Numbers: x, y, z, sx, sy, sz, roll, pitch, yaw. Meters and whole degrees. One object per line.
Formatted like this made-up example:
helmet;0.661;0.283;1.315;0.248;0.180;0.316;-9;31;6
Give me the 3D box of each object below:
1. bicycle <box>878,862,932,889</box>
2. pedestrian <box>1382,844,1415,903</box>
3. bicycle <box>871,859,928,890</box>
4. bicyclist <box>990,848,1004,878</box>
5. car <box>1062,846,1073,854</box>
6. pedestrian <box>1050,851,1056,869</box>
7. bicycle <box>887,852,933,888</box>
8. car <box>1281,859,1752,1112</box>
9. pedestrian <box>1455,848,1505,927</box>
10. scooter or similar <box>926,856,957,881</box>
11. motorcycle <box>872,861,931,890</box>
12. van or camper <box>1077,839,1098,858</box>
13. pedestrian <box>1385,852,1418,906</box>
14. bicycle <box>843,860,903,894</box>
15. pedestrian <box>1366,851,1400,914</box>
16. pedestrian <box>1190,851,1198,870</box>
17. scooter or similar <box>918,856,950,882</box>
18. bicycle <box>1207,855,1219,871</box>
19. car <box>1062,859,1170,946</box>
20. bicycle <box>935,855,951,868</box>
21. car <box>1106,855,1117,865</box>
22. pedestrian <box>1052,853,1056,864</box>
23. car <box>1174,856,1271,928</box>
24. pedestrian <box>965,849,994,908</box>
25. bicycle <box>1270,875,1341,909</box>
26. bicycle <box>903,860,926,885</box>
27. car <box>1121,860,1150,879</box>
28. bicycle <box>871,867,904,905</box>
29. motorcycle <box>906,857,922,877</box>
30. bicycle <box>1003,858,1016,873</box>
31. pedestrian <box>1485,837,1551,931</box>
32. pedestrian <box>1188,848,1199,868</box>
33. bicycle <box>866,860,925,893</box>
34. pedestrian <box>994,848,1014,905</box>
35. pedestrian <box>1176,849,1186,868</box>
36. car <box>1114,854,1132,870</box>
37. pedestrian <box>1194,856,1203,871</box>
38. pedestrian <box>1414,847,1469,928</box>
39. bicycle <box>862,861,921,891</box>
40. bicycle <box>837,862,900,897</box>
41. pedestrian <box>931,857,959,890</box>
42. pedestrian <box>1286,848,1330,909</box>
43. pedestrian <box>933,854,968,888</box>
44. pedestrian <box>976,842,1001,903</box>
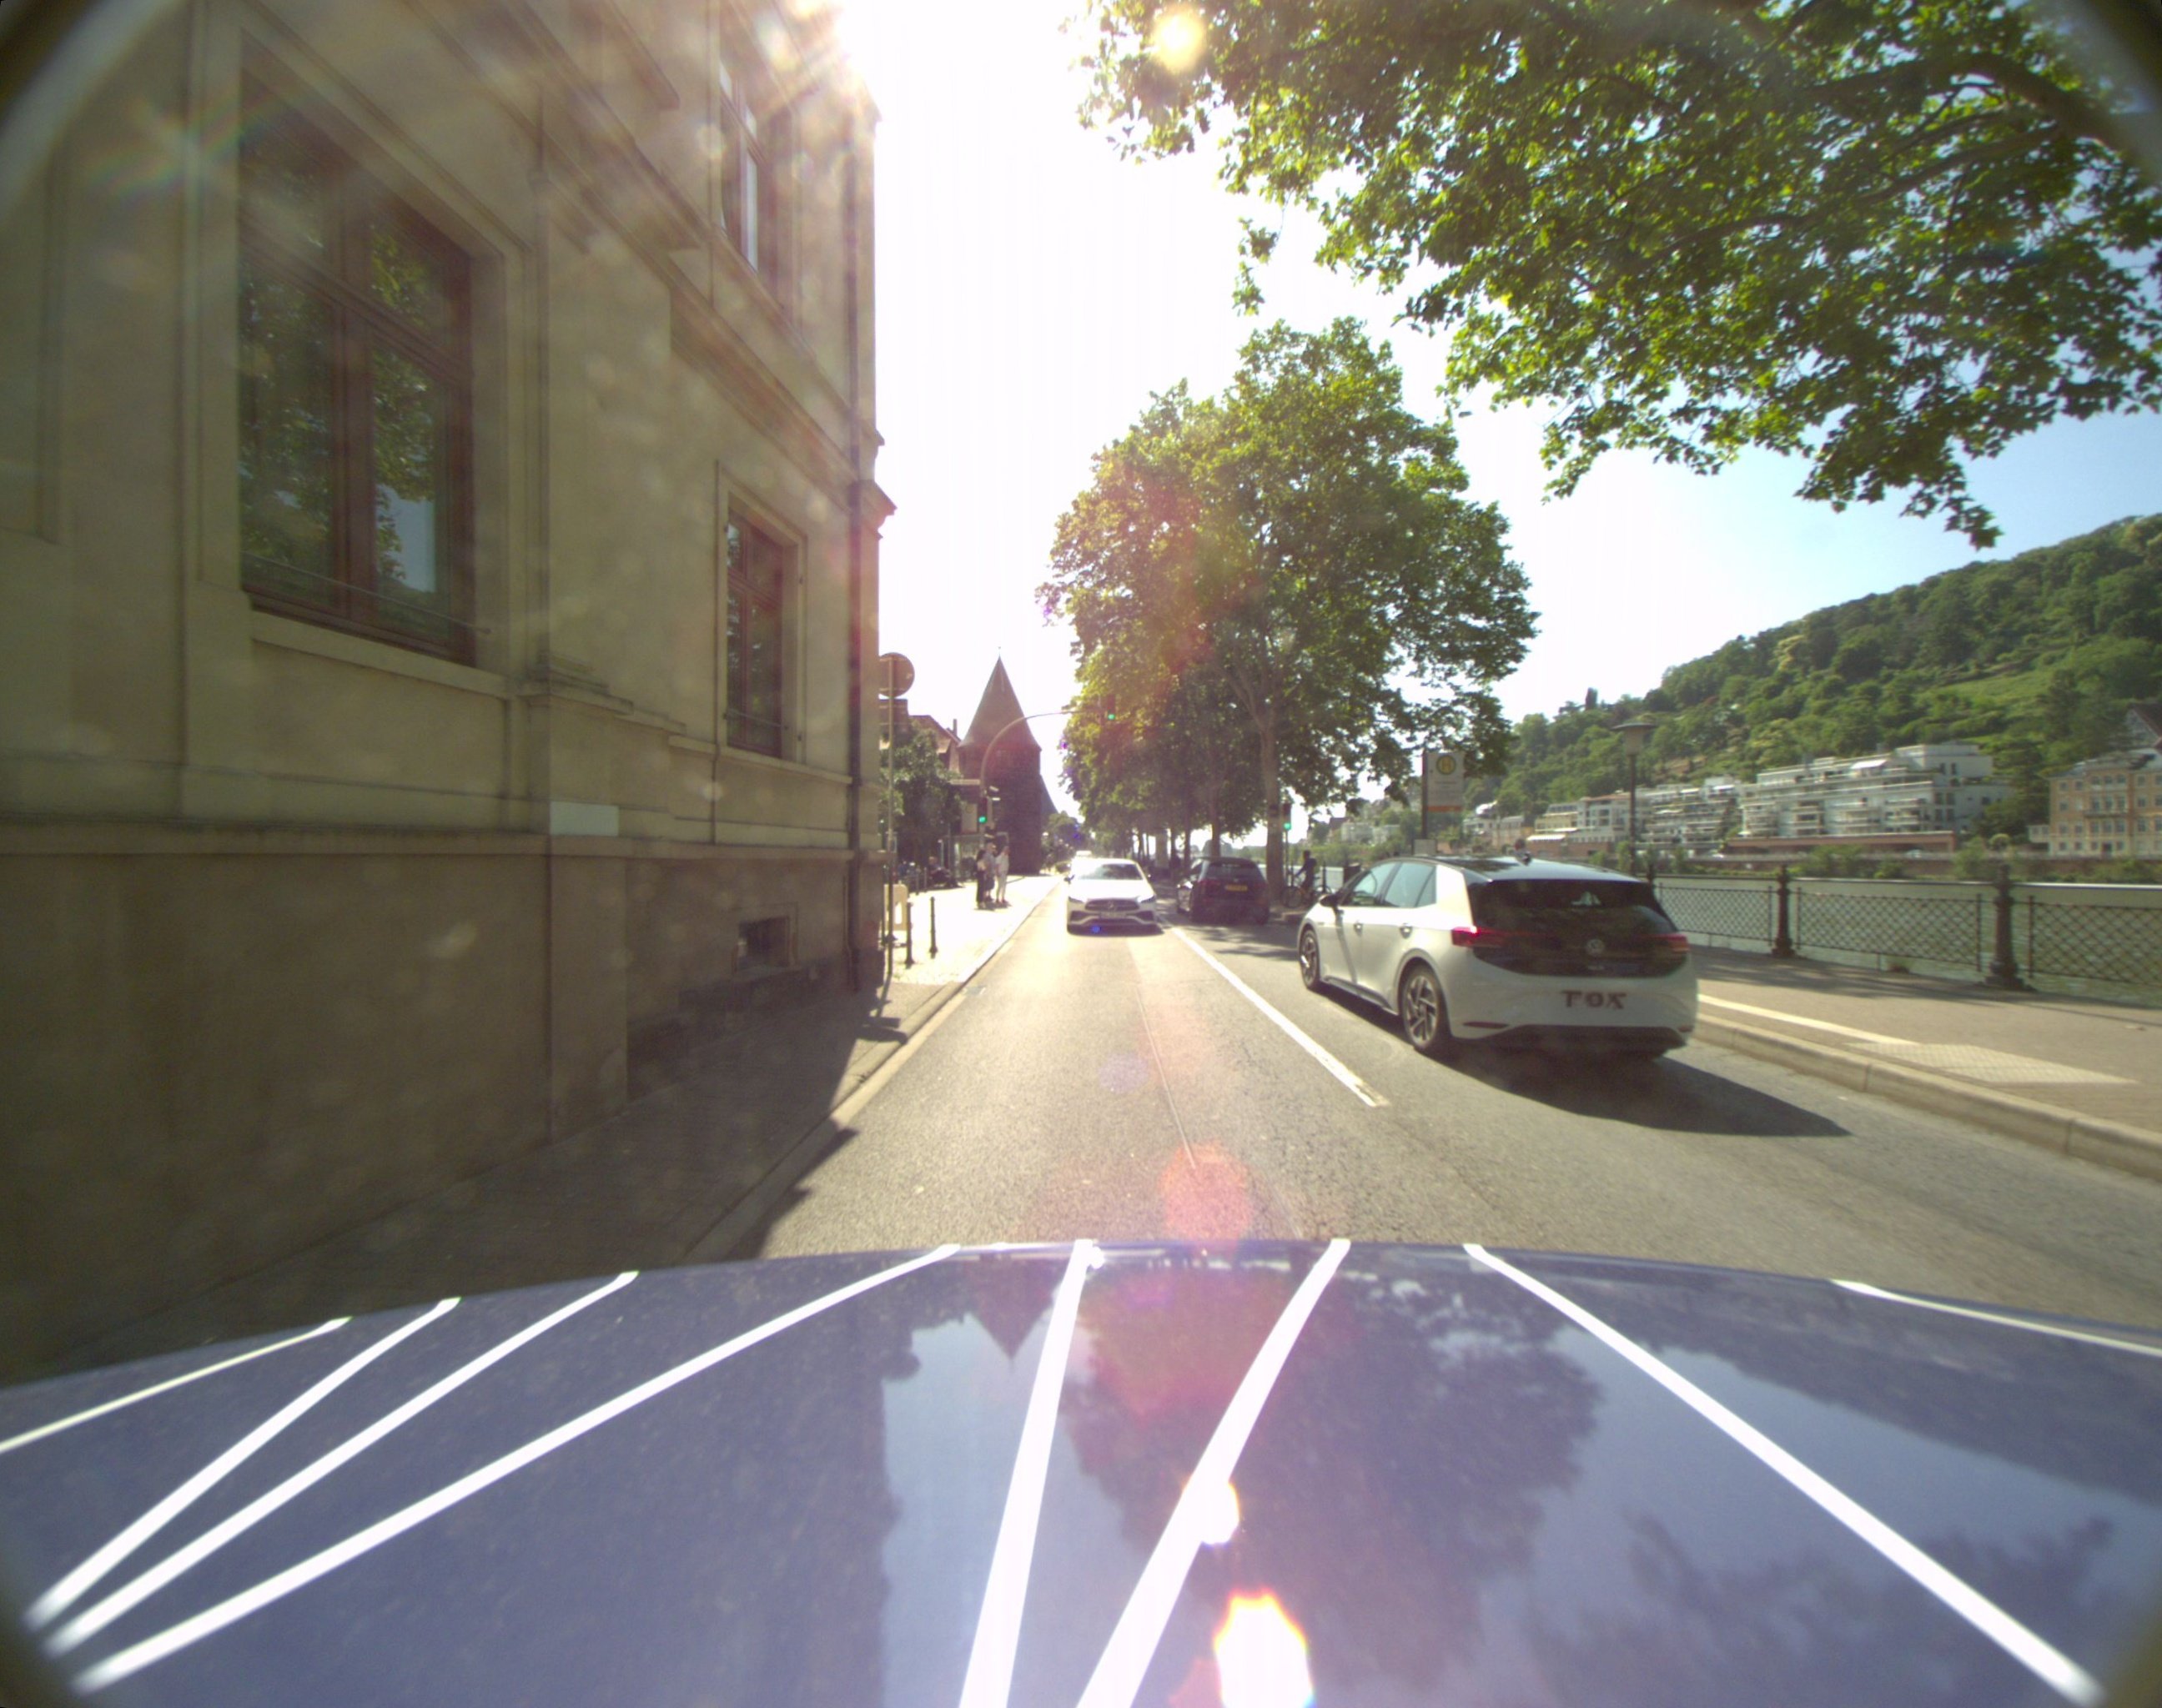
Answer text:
bicycle;-7.326;0.889;31.706;2.029;1.059;0.801;-2;0;-1
pedestrian;9.315;0.570;22.309;0.620;1.690;0.696;-2;1;0
bicycle;-7.348;0.825;30.889;2.085;1.191;0.776;-2;0;-1
bicyclist;-4.549;0.488;41.060;0.711;1.619;0.886;-1;1;-7
car;-2.809;-0.777;158.511;1.998;1.598;4.257;-1;1;0
pedestrian;-2.911;0.593;77.996;0.556;1.844;1.023;-1;1;1
bicycle;-7.412;0.686;32.941;1.552;1.190;0.725;-15;-2;7
car;3.322;0.849;6.991;1.740;1.509;4.404;1;1;-1
pedestrian;8.760;0.723;16.691;0.654;1.703;0.793;0;1;-1
scooter or similar;-7.272;0.748;39.579;1.434;1.208;0.652;-3;1;0
motorcycle;-7.284;0.869;30.890;2.210;1.097;0.776;-2;0;-1
van or camper;0.808;-0.656;96.456;2.437;2.271;6.203;-1;1;0
pedestrian;9.816;0.758;23.264;0.550;1.599;0.911;-3;1;0
bicycle;-7.762;0.863;28.386;2.085;1.191;0.527;-2;0;-1
pedestrian;7.950;0.723;20.055;0.495;1.608;0.991;-1;1;0
pedestrian;9.797;0.528;65.816;0.633;1.618;0.553;-1;1;0
scooter or similar;-7.382;0.755;38.104;1.434;1.208;0.652;-3;1;0
bicycle;10.114;0.700;58.396;0.564;1.146;1.844;-3;1;0
car;0.667;0.887;16.042;1.875;1.416;4.744;-3;0;1
bicycle;-10.766;0.551;59.336;0.659;0.996;1.714;-1;0;10
car;5.130;1.043;128.959;1.875;1.661;4.745;0;0;1
pedestrian;-4.130;0.719;114.729;0.592;1.662;0.441;-1;1;0
car;3.402;0.839;18.987;1.705;1.509;4.405;1;1;2
pedestrian;-2.924;0.699;21.901;0.717;1.666;0.682;-1;1;0
bicycle;6.656;1.147;22.613;1.825;0.920;0.744;-4;-1;41
bicycle;-7.877;0.855;35.886;0.548;1.125;1.733;-1;1;-29
car;4.128;1.138;57.837;1.845;1.262;4.261;3;1;0
bicycle;-5.894;0.964;23.211;0.509;0.998;1.579;-2;3;3
motorcycle;-10.713;0.798;48.859;0.660;1.229;2.215;-1;1;-3
bicycle;-5.770;0.950;61.247;0.845;1.146;1.844;-1;1;0
pedestrian;8.410;0.552;14.645;0.713;1.754;0.972;-1;1;0
pedestrian;9.785;0.324;65.994;0.793;1.673;0.709;1;1;0
bicycle;-7.342;0.881;30.105;2.085;1.191;0.776;-2;0;-1
pedestrian;-2.331;0.665;23.023;0.528;1.702;0.665;-1;1;0
pedestrian;8.777;0.392;66.953;0.760;1.720;0.730;-1;1;0
car;4.375;0.835;79.938;1.705;1.509;4.405;2;1;2
pedestrian;10.182;0.814;65.866;0.633;1.312;0.553;0;1;0
pedestrian;7.857;0.711;16.593;0.837;1.704;0.782;-1;1;0
bicycle;-7.331;0.859;29.385;2.085;1.079;0.604;-2;0;-1
bicycle;-7.756;0.918;27.784;2.085;1.191;0.608;-2;0;-1
pedestrian;-5.345;0.753;29.921;0.963;1.274;0.693;-1;1;-1
pedestrian;6.753;0.723;22.619;1.022;1.762;0.770;0;1;41
pedestrian;-5.250;0.679;30.598;1.250;1.300;0.693;-1;1;-1
pedestrian;-2.853;0.559;23.463;0.617;1.841;0.730;-1;1;1
